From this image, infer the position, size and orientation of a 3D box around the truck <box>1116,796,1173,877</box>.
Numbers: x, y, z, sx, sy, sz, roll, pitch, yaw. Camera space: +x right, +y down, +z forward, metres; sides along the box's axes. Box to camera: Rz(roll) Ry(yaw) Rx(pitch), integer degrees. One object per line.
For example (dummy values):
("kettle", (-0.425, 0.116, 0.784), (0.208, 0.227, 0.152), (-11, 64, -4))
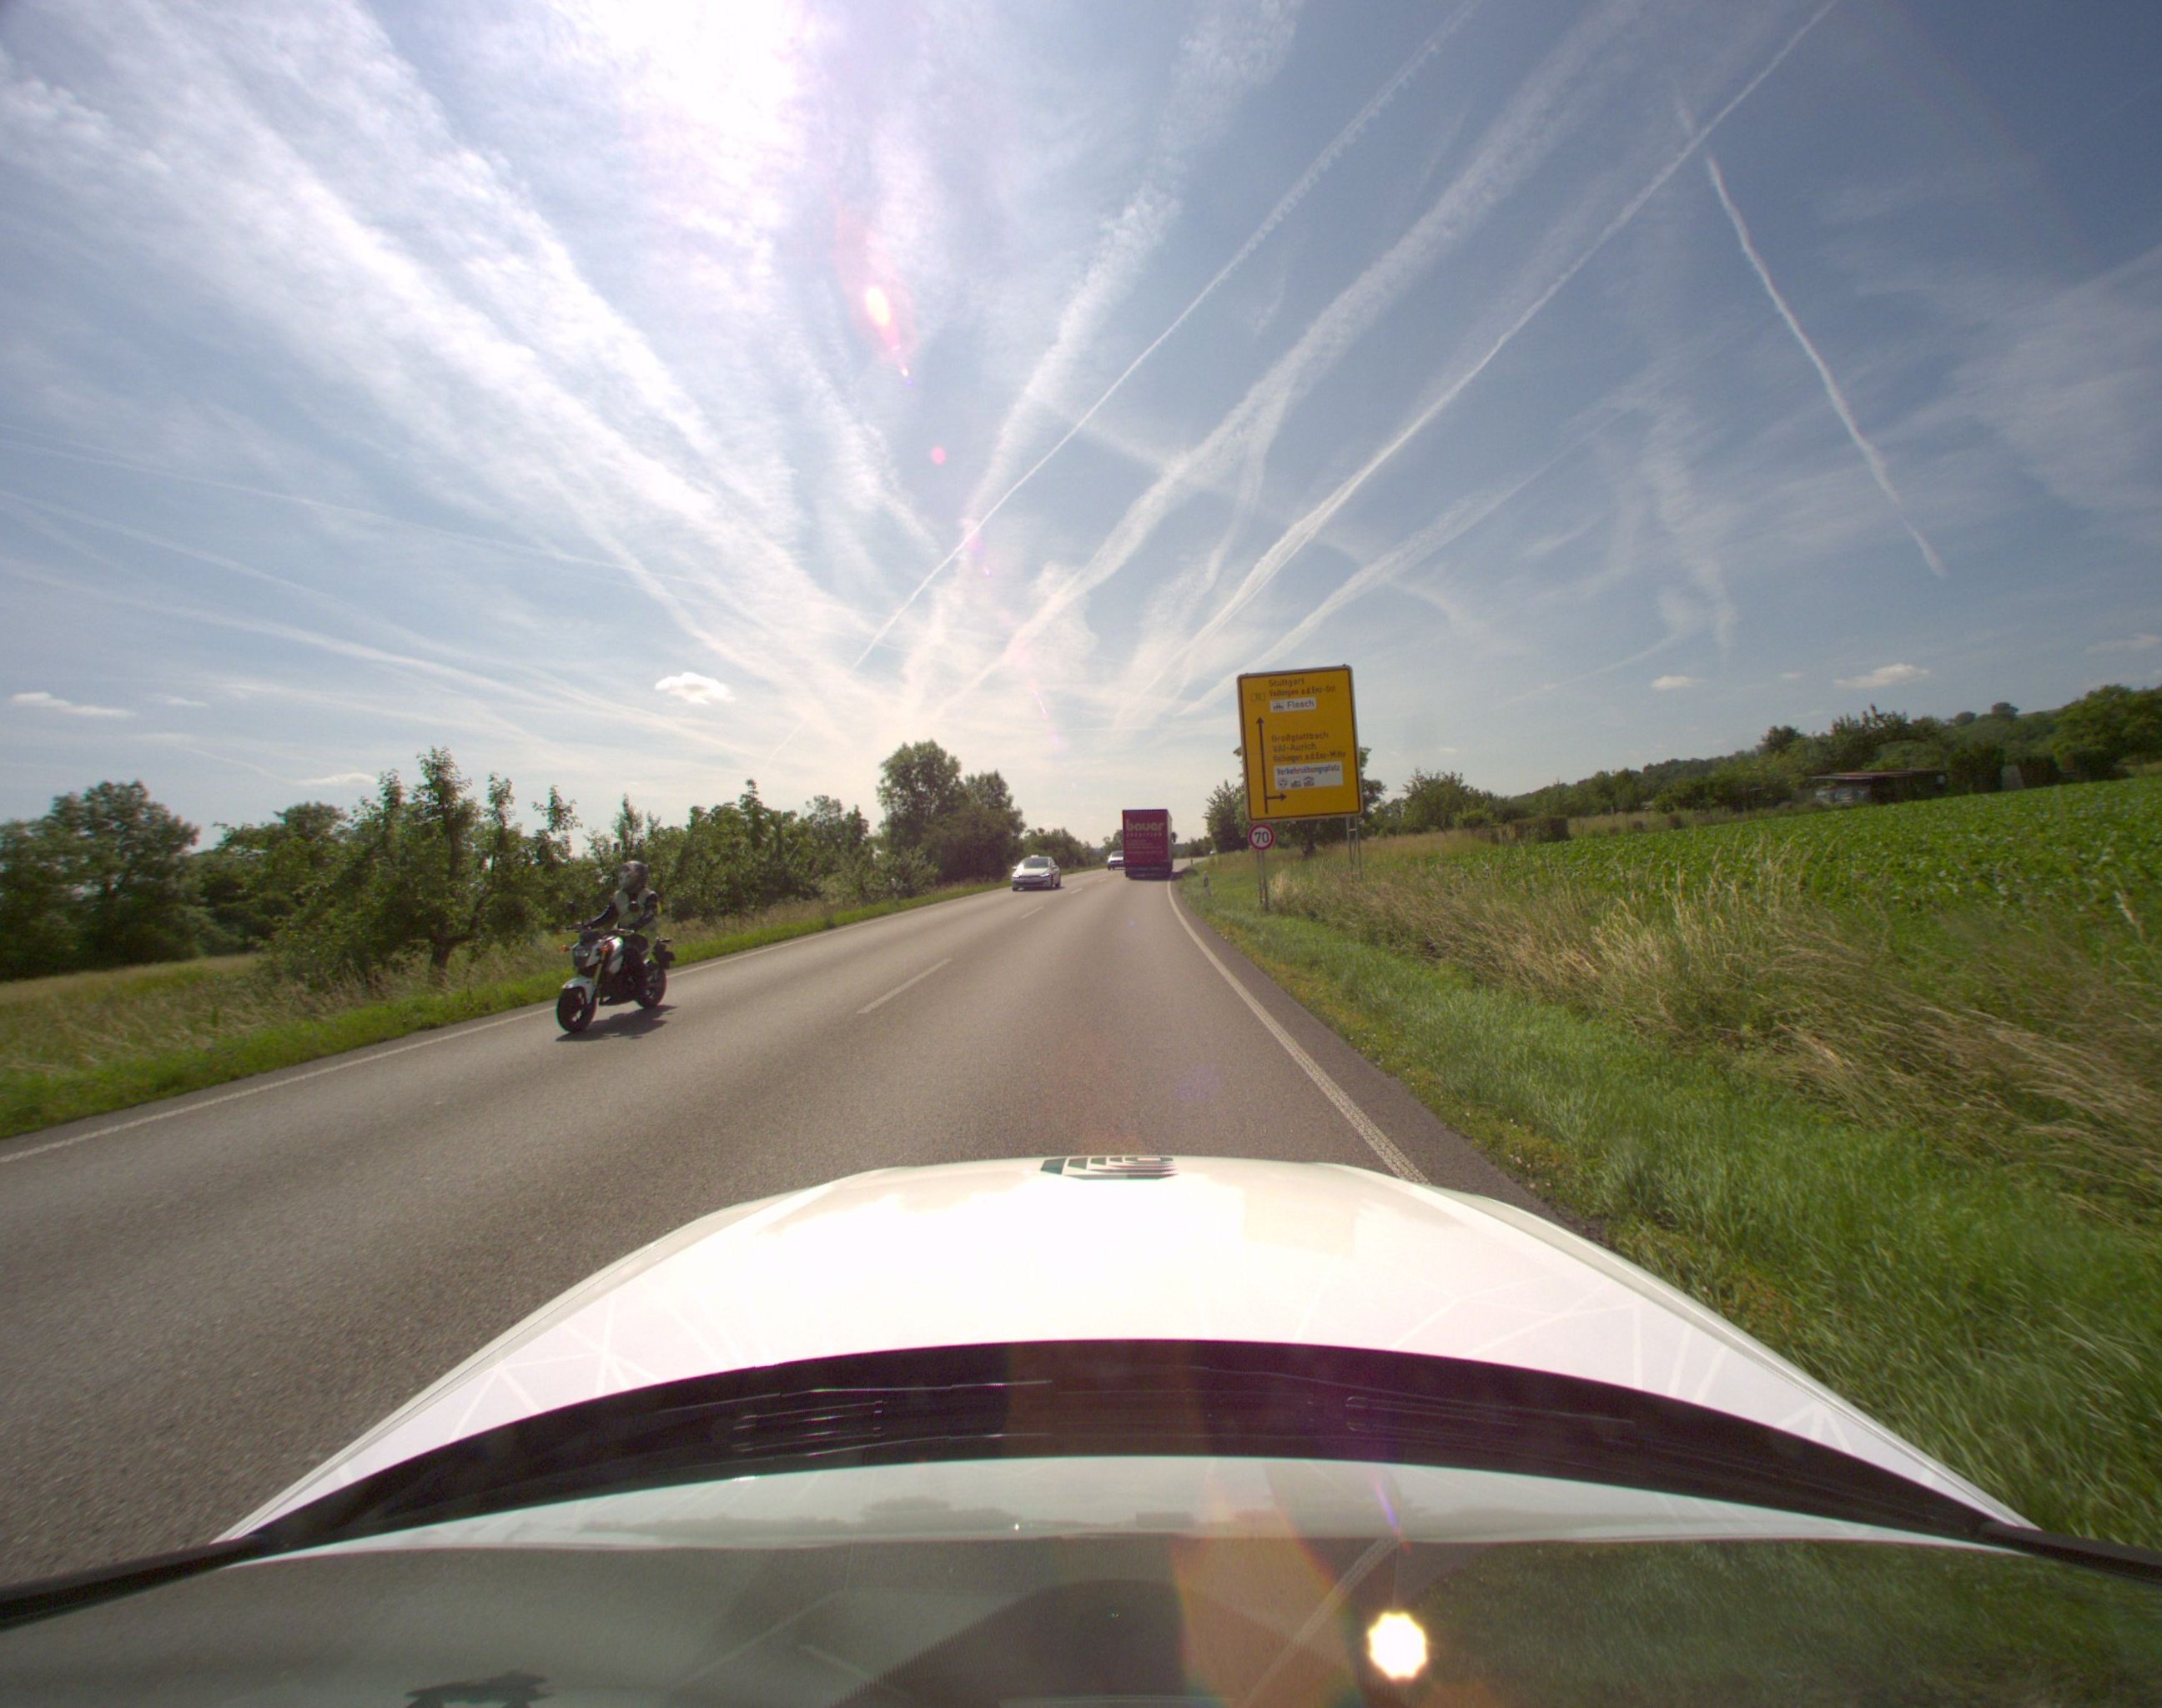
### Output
("truck", (4.199, -0.900, 51.273), (3.096, 4.506, 12.190), (0, -1, 7))

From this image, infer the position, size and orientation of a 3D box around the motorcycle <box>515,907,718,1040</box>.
("motorcycle", (-4.594, 1.126, 8.307), (0.755, 0.994, 2.279), (-2, 0, 0))

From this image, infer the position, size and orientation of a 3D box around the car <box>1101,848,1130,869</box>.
("car", (3.130, 0.379, 72.361), (1.821, 1.616, 4.376), (-6, 0, 11))

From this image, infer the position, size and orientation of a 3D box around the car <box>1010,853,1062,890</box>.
("car", (-1.997, 0.762, 37.043), (1.782, 1.522, 4.165), (-2, 0, 4))

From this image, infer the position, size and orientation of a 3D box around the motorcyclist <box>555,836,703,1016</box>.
("motorcyclist", (-4.603, 0.699, 8.373), (0.915, 1.718, 0.963), (-2, -1, 1))
